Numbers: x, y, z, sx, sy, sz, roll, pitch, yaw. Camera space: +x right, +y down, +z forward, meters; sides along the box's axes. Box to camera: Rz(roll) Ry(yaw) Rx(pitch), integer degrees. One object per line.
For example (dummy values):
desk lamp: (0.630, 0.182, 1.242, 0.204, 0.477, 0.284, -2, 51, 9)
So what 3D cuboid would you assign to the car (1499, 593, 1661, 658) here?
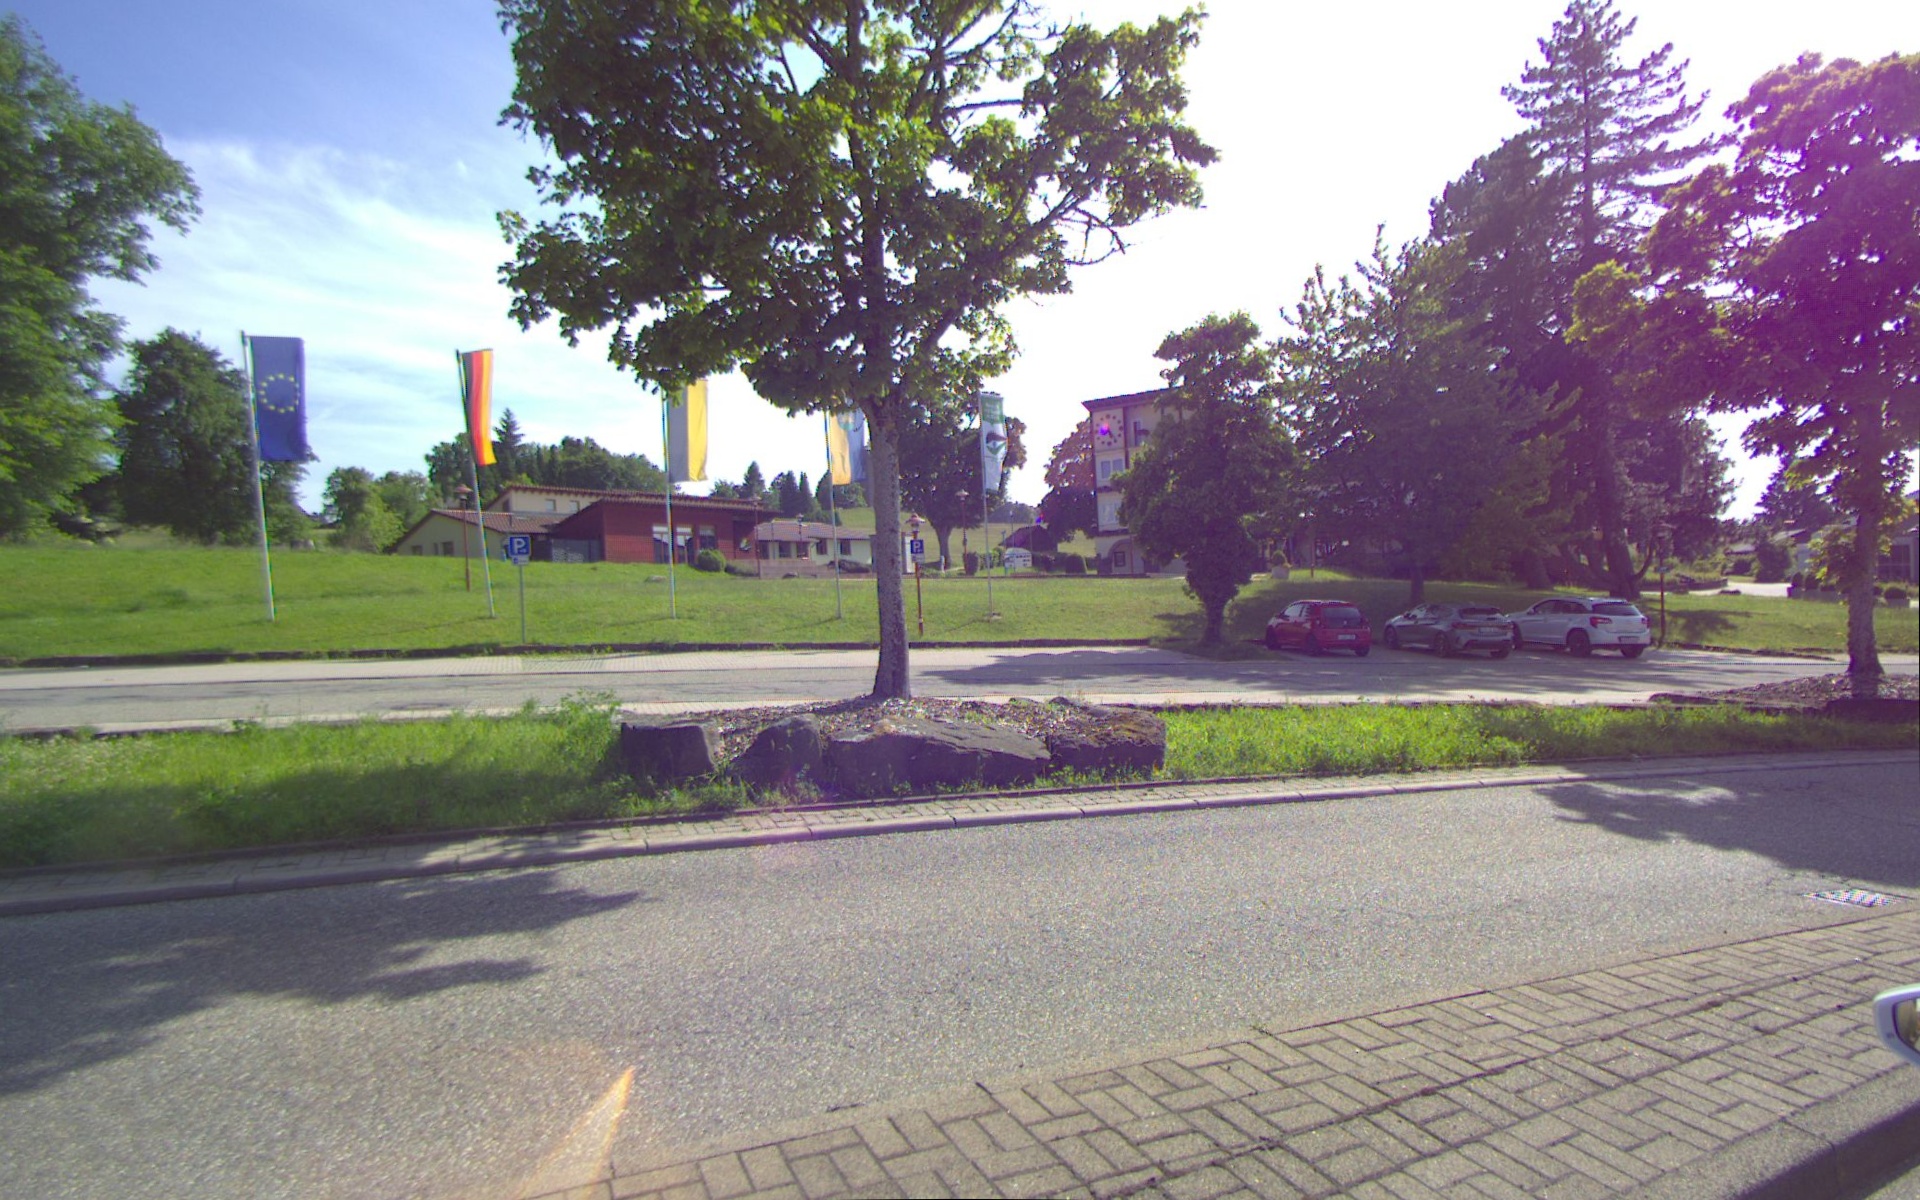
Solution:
car: (17.308, 0.668, 28.291, 1.743, 1.631, 3.936, 1, 1, -8)

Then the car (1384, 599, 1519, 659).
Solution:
car: (13.401, 0.747, 27.625, 1.742, 1.453, 3.711, 1, 1, -3)

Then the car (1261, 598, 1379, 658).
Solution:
car: (9.918, 0.727, 27.890, 1.744, 1.490, 3.202, 1, 1, -9)
